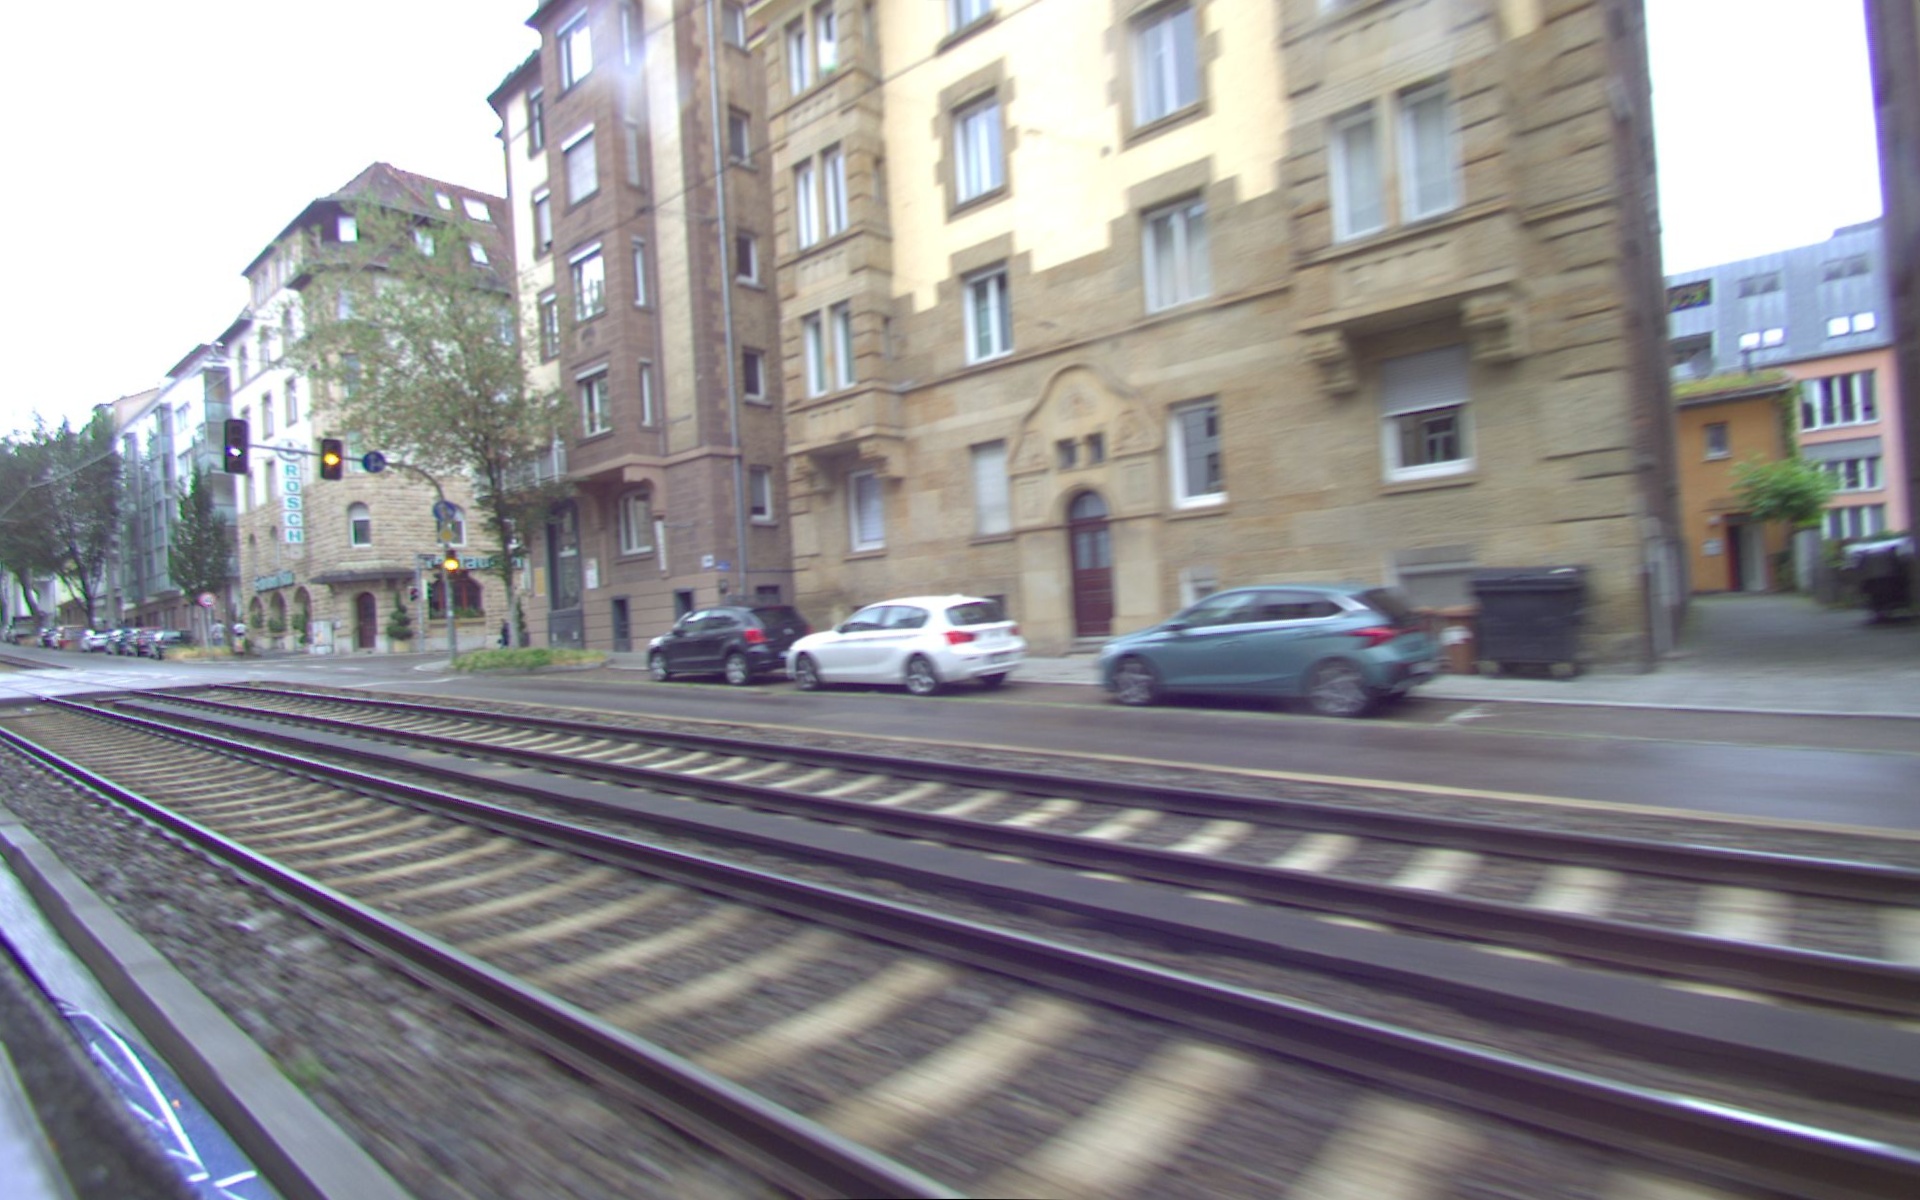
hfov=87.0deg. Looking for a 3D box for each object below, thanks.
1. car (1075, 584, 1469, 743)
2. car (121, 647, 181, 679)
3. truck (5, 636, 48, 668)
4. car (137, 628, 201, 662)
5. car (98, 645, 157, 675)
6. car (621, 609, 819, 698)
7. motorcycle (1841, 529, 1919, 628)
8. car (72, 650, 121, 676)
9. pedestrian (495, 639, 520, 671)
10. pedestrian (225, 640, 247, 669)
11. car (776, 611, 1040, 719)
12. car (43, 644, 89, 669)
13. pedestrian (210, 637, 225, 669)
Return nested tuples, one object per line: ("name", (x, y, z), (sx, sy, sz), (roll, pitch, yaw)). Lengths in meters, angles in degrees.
("car", (3.575, 0.701, 12.061), (4.144, 1.448, 1.546), (-3, 4, 42))
("car", (-42.713, 3.303, 53.439), (3.523, 1.509, 1.789), (-2, 0, 40))
("truck", (-77.544, 4.263, 83.993), (6.353, 2.363, 2.168), (0, 0, 43))
("car", (-39.171, 2.208, 50.089), (3.892, 1.564, 1.747), (-2, 0, 41))
("car", (-46.385, 3.331, 56.347), (4.428, 1.466, 1.782), (-3, -1, 41))
("car", (-4.725, 0.978, 19.646), (3.999, 1.497, 1.746), (-2, 0, 42))
("motorcycle", (15.941, -0.366, 17.418), (0.992, 1.525, 2.852), (-6, -3, 40))
("car", (-53.051, 3.875, 62.183), (4.128, 1.345, 1.685), (-2, 2, 42))
("pedestrian", (-21.161, 2.565, 47.298), (0.721, 1.426, 0.808), (-5, -1, 44))
("pedestrian", (-36.861, 2.754, 51.517), (0.645, 1.432, 0.746), (-2, 0, 44))
("car", (-0.935, 0.967, 16.054), (4.262, 1.436, 1.649), (-2, 0, 43))
("car", (-61.609, 3.877, 69.707), (4.156, 1.581, 1.758), (-1, 0, 40))
("pedestrian", (-37.361, 2.640, 50.933), (0.643, 1.582, 0.511), (-2, -1, 44))
